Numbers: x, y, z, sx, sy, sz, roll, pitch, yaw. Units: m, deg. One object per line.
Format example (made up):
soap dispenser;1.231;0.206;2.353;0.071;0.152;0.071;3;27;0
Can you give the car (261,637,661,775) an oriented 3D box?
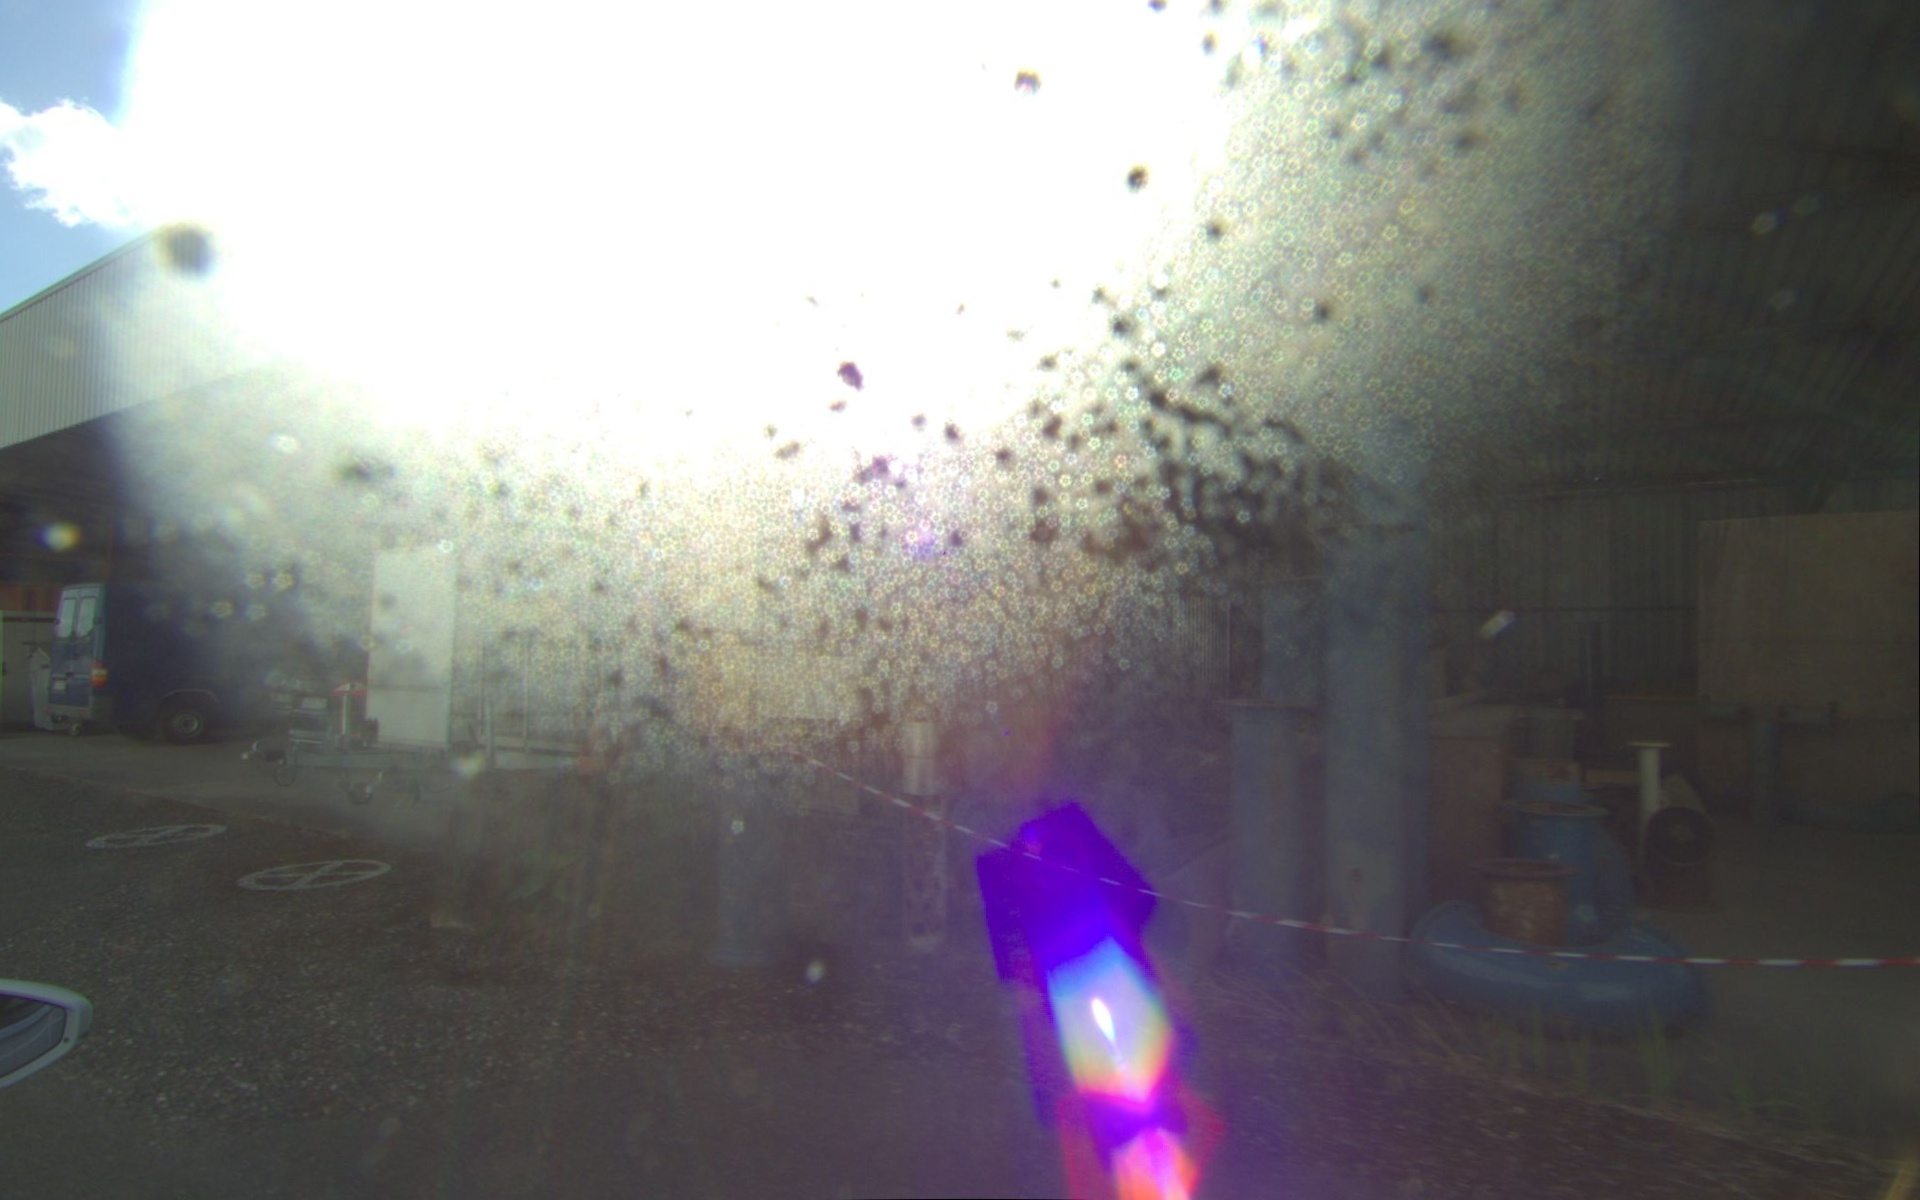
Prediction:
car;-6.121;1.216;12.874;1.837;1.451;4.341;-1;-3;29

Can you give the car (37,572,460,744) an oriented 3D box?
car;-11.238;0.954;16.328;2.054;2.325;5.211;-1;-4;31

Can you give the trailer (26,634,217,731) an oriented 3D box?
trailer;-13.993;1.351;16.754;1.620;1.480;2.089;-2;-4;35

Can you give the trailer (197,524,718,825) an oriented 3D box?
trailer;-4.754;0.680;10.231;1.665;2.364;4.534;-1;-2;33

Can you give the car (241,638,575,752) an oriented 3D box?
car;-8.191;1.331;15.251;1.824;1.472;4.101;-1;-3;32

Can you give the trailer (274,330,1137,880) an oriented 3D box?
trailer;-1.266;0.238;11.134;2.637;3.337;10.275;-1;-2;33
